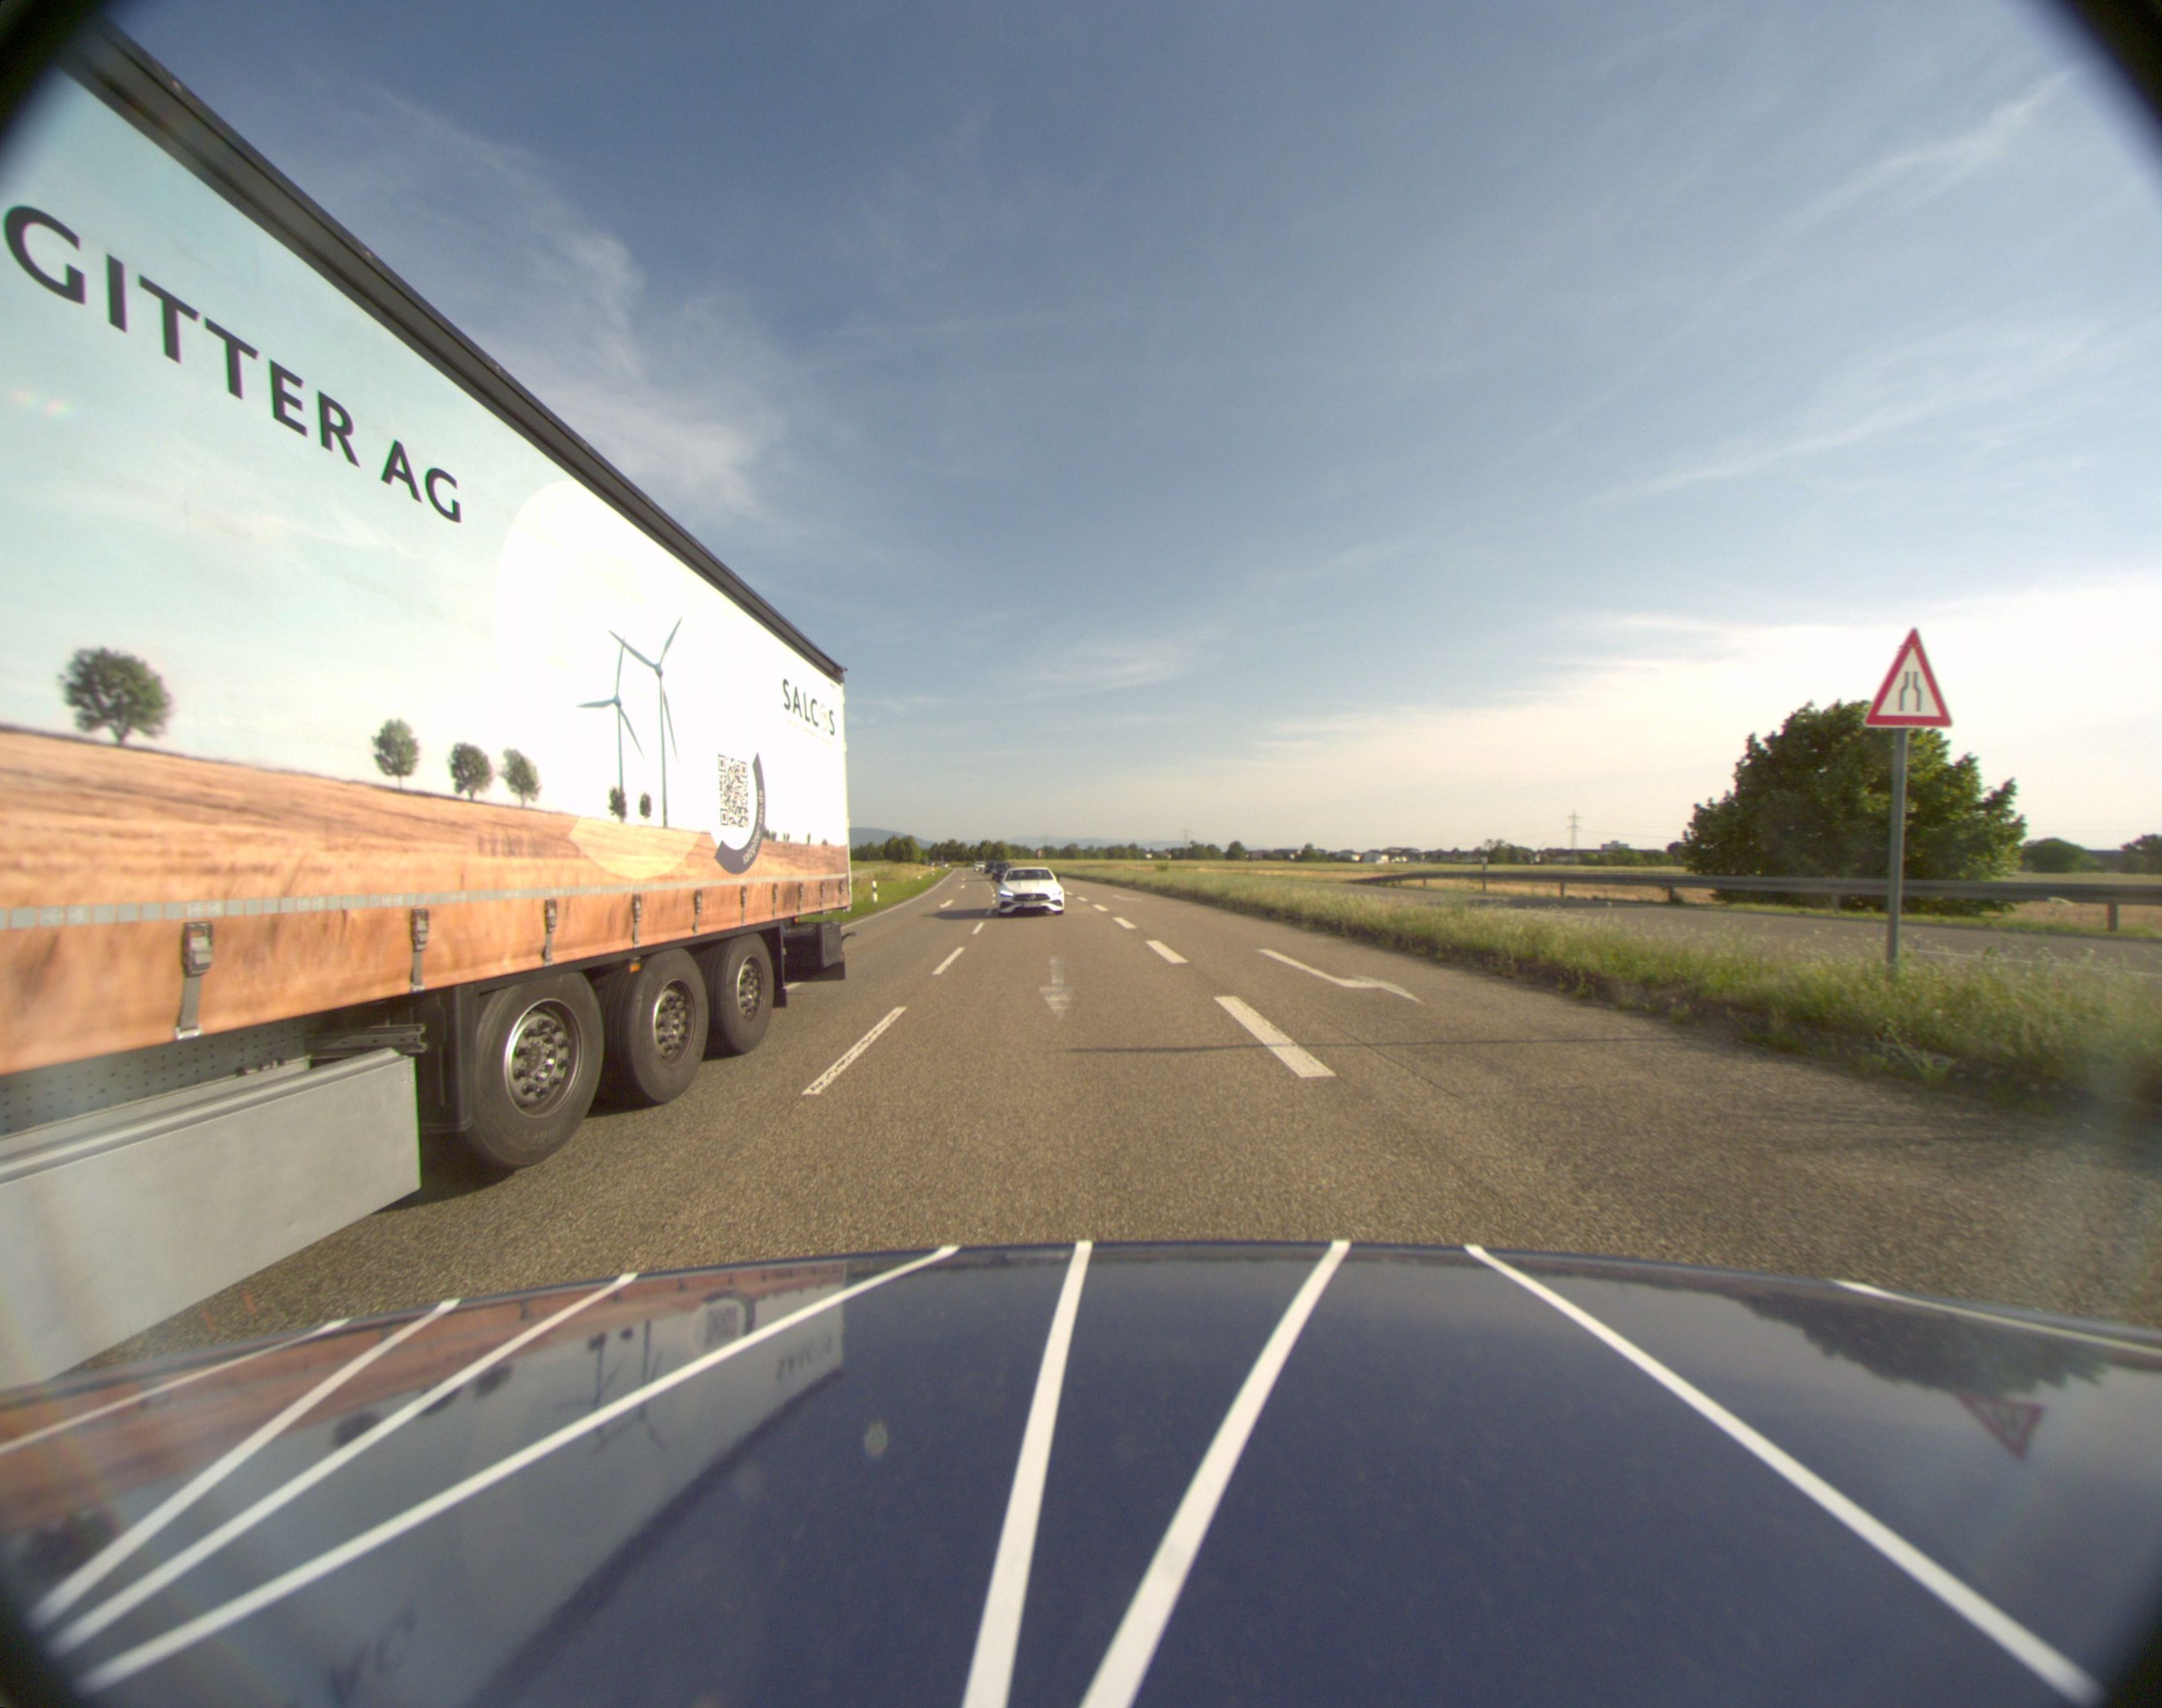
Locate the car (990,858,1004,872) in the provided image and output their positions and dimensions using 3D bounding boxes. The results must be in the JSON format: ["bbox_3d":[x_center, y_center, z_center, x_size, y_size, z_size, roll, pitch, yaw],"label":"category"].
[{"bbox_3d":[-9.992,1.307,90.191,1.558,1.550,3.047,-1,0,-6],"label":"car"}]

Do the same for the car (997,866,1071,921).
[{"bbox_3d":[-1.481,1.101,22.659,1.942,1.389,3.916,-2,0,-6],"label":"car"}]

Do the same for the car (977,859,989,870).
[{"bbox_3d":[-14.196,1.513,110.447,1.558,1.391,4.033,-1,0,-6],"label":"car"}]

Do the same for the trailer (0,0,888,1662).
[{"bbox_3d":[-4.112,-0.509,3.271,3.290,4.654,13.145,-2,0,-1],"label":"trailer"}]

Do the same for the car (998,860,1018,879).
[{"bbox_3d":[-6.101,1.243,63.092,1.585,1.496,3.659,-1,0,-6],"label":"car"}]
